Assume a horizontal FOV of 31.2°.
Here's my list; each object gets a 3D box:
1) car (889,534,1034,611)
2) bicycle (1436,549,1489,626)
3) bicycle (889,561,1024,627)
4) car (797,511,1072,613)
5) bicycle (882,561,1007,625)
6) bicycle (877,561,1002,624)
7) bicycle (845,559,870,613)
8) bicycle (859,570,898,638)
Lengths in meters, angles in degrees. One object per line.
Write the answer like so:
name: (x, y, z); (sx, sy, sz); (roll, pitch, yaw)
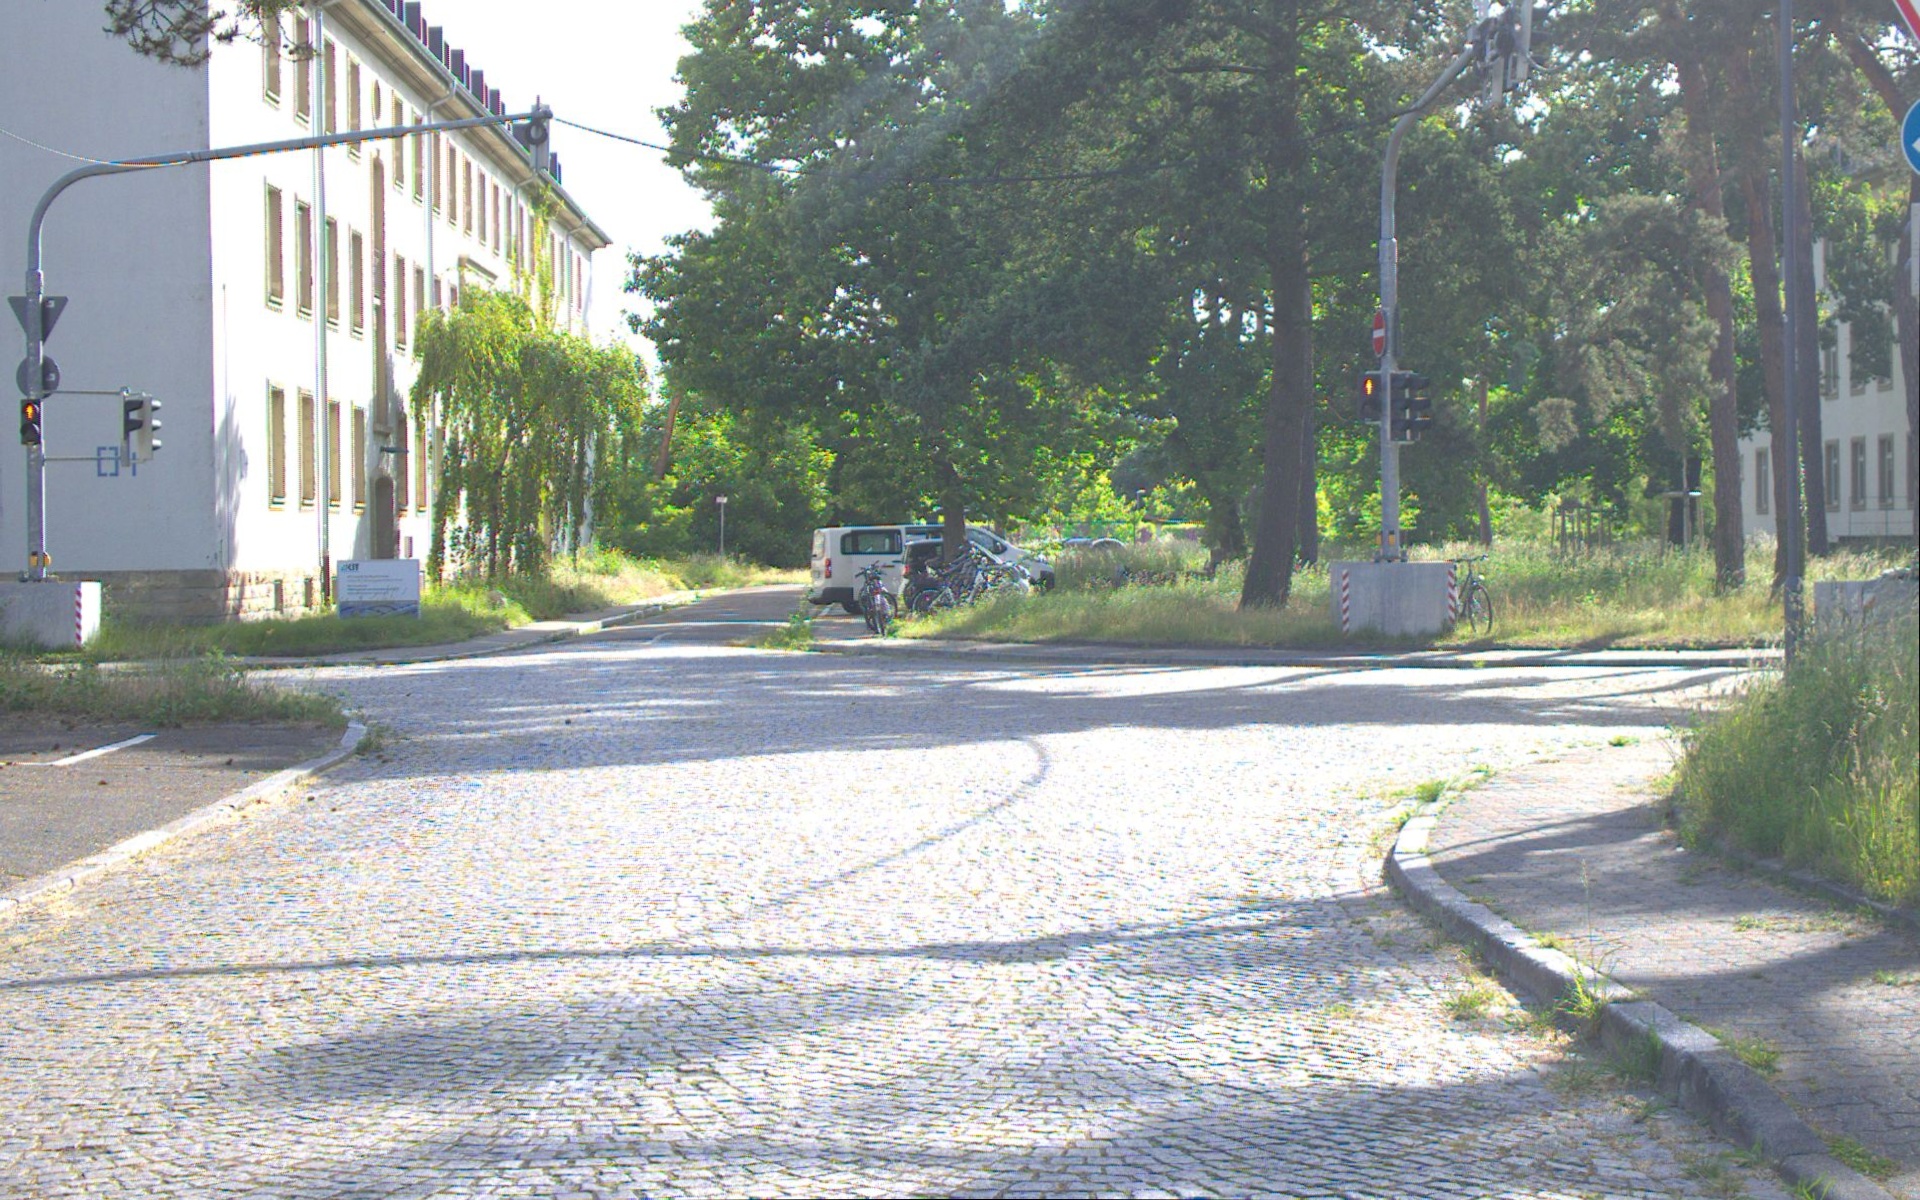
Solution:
car: (0.014, -0.564, 70.473); (2.781, 1.462, 1.671); (2, 0, -5)
bicycle: (6.414, -0.163, 43.950); (0.300, 0.957, 1.586); (2, 0, -4)
bicycle: (-0.061, -0.099, 56.001); (2.108, 1.007, 0.621); (2, 0, -8)
car: (-0.555, -0.814, 74.068); (5.520, 2.007, 2.001); (2, 0, -19)
bicycle: (-0.258, -0.119, 57.713); (2.004, 1.007, 0.632); (2, 0, -8)
bicycle: (-0.348, -0.130, 58.594); (2.027, 1.007, 0.627); (2, 0, -8)
bicycle: (-1.953, -0.275, 65.716); (0.417, 1.006, 1.483); (2, 0, 0)
bicycle: (-1.246, 0.048, 52.304); (0.467, 1.006, 1.586); (2, 0, -4)
